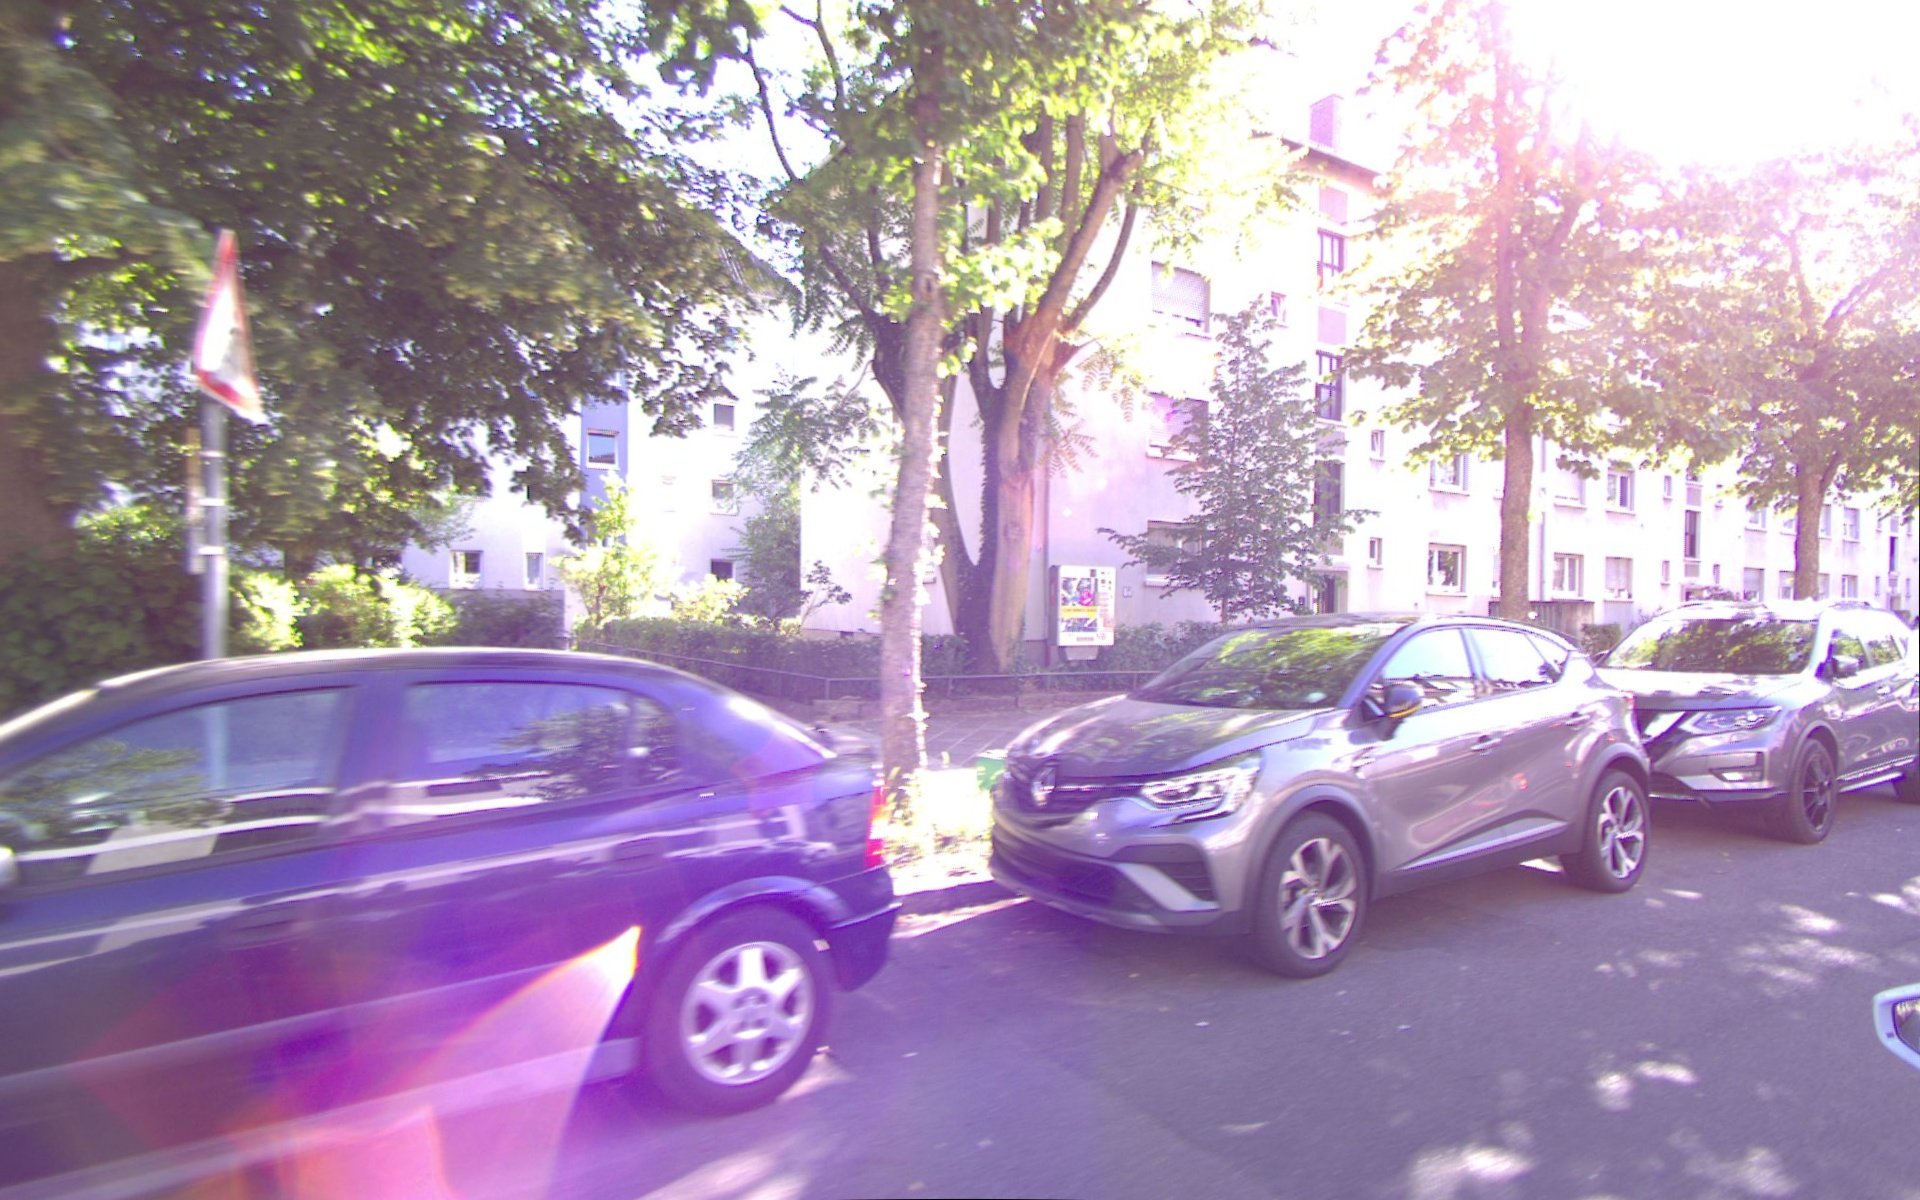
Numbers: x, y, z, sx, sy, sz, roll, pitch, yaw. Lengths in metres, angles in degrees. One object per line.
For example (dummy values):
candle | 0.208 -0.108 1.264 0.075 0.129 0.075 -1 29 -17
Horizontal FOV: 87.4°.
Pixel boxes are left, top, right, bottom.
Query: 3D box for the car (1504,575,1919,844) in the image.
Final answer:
car | 6.721 0.733 8.428 4.762 1.710 1.758 1 -1 -33

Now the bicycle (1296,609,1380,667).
bicycle | 8.348 0.825 22.180 1.889 1.217 0.682 1 0 -30

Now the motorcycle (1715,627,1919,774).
motorcycle | 9.019 0.962 10.281 0.776 1.350 1.949 0 -1 -23

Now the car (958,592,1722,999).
car | 2.307 0.766 5.723 4.369 1.552 1.760 1 0 -31

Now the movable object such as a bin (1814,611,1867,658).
movable object such as a bin | 25.684 0.998 29.292 1.366 1.341 0.923 1 -1 -37

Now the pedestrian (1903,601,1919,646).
pedestrian | 42.198 1.038 44.117 0.862 1.939 0.783 0 0 -5

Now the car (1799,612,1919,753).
car | 11.882 0.903 11.854 4.135 1.489 1.846 1 0 -32

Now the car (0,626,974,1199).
car | -2.275 0.776 2.928 4.434 1.370 1.774 1 -1 -33

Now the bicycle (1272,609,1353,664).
bicycle | 8.006 0.814 22.795 1.889 1.217 0.682 1 0 -30
